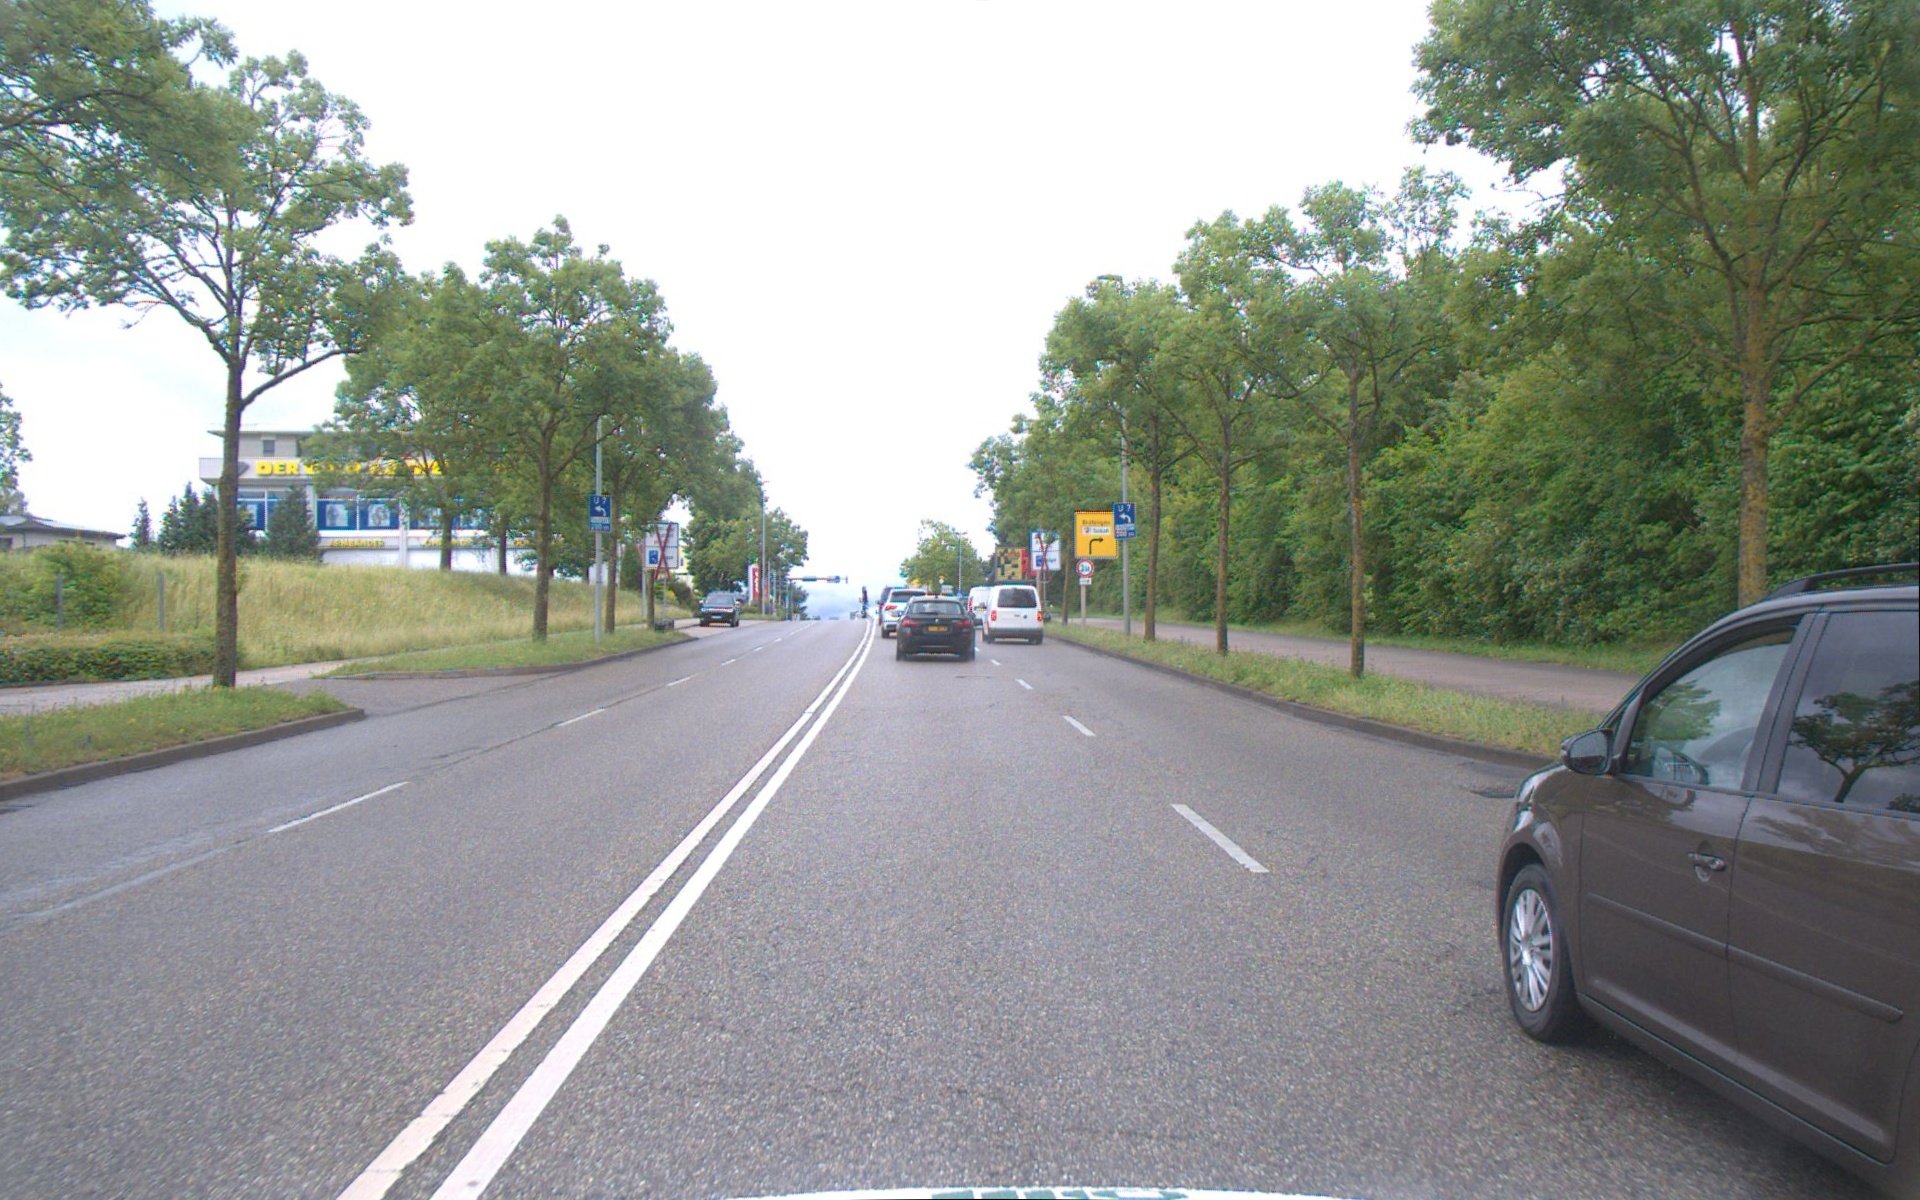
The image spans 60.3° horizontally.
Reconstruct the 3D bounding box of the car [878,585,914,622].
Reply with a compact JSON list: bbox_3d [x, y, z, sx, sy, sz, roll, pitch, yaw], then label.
[{"bbox_3d":[-3.141,0.168,81.579,1.722,1.738,3.945,0,0,-1],"label":"car"}]

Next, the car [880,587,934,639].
[{"bbox_3d":[-1.808,0.433,57.284,1.693,1.741,3.382,1,0,0],"label":"car"}]

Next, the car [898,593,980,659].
[{"bbox_3d":[-0.488,0.587,38.927,1.817,1.444,3.956,1,0,-1],"label":"car"}]

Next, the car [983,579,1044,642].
[{"bbox_3d":[1.656,0.330,52.599,1.706,1.902,3.945,1,0,-1],"label":"car"}]

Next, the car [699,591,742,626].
[{"bbox_3d":[-12.184,0.402,84.353,1.691,1.697,4.485,1,0,-3],"label":"car"}]

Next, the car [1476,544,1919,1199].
[{"bbox_3d":[2.923,0.700,4.422,1.679,1.624,4.129,1,0,-2],"label":"car"}]

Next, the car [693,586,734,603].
[{"bbox_3d":[-23.020,-0.521,154.520,3.757,1.508,1.737,0,-1,-10],"label":"car"}]

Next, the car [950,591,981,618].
[{"bbox_3d":[0.274,0.244,89.076,1.568,1.396,3.679,-1,0,-2],"label":"car"}]

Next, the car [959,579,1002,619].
[{"bbox_3d":[0.874,-0.056,73.813,1.777,1.738,3.945,0,0,-1],"label":"car"}]
